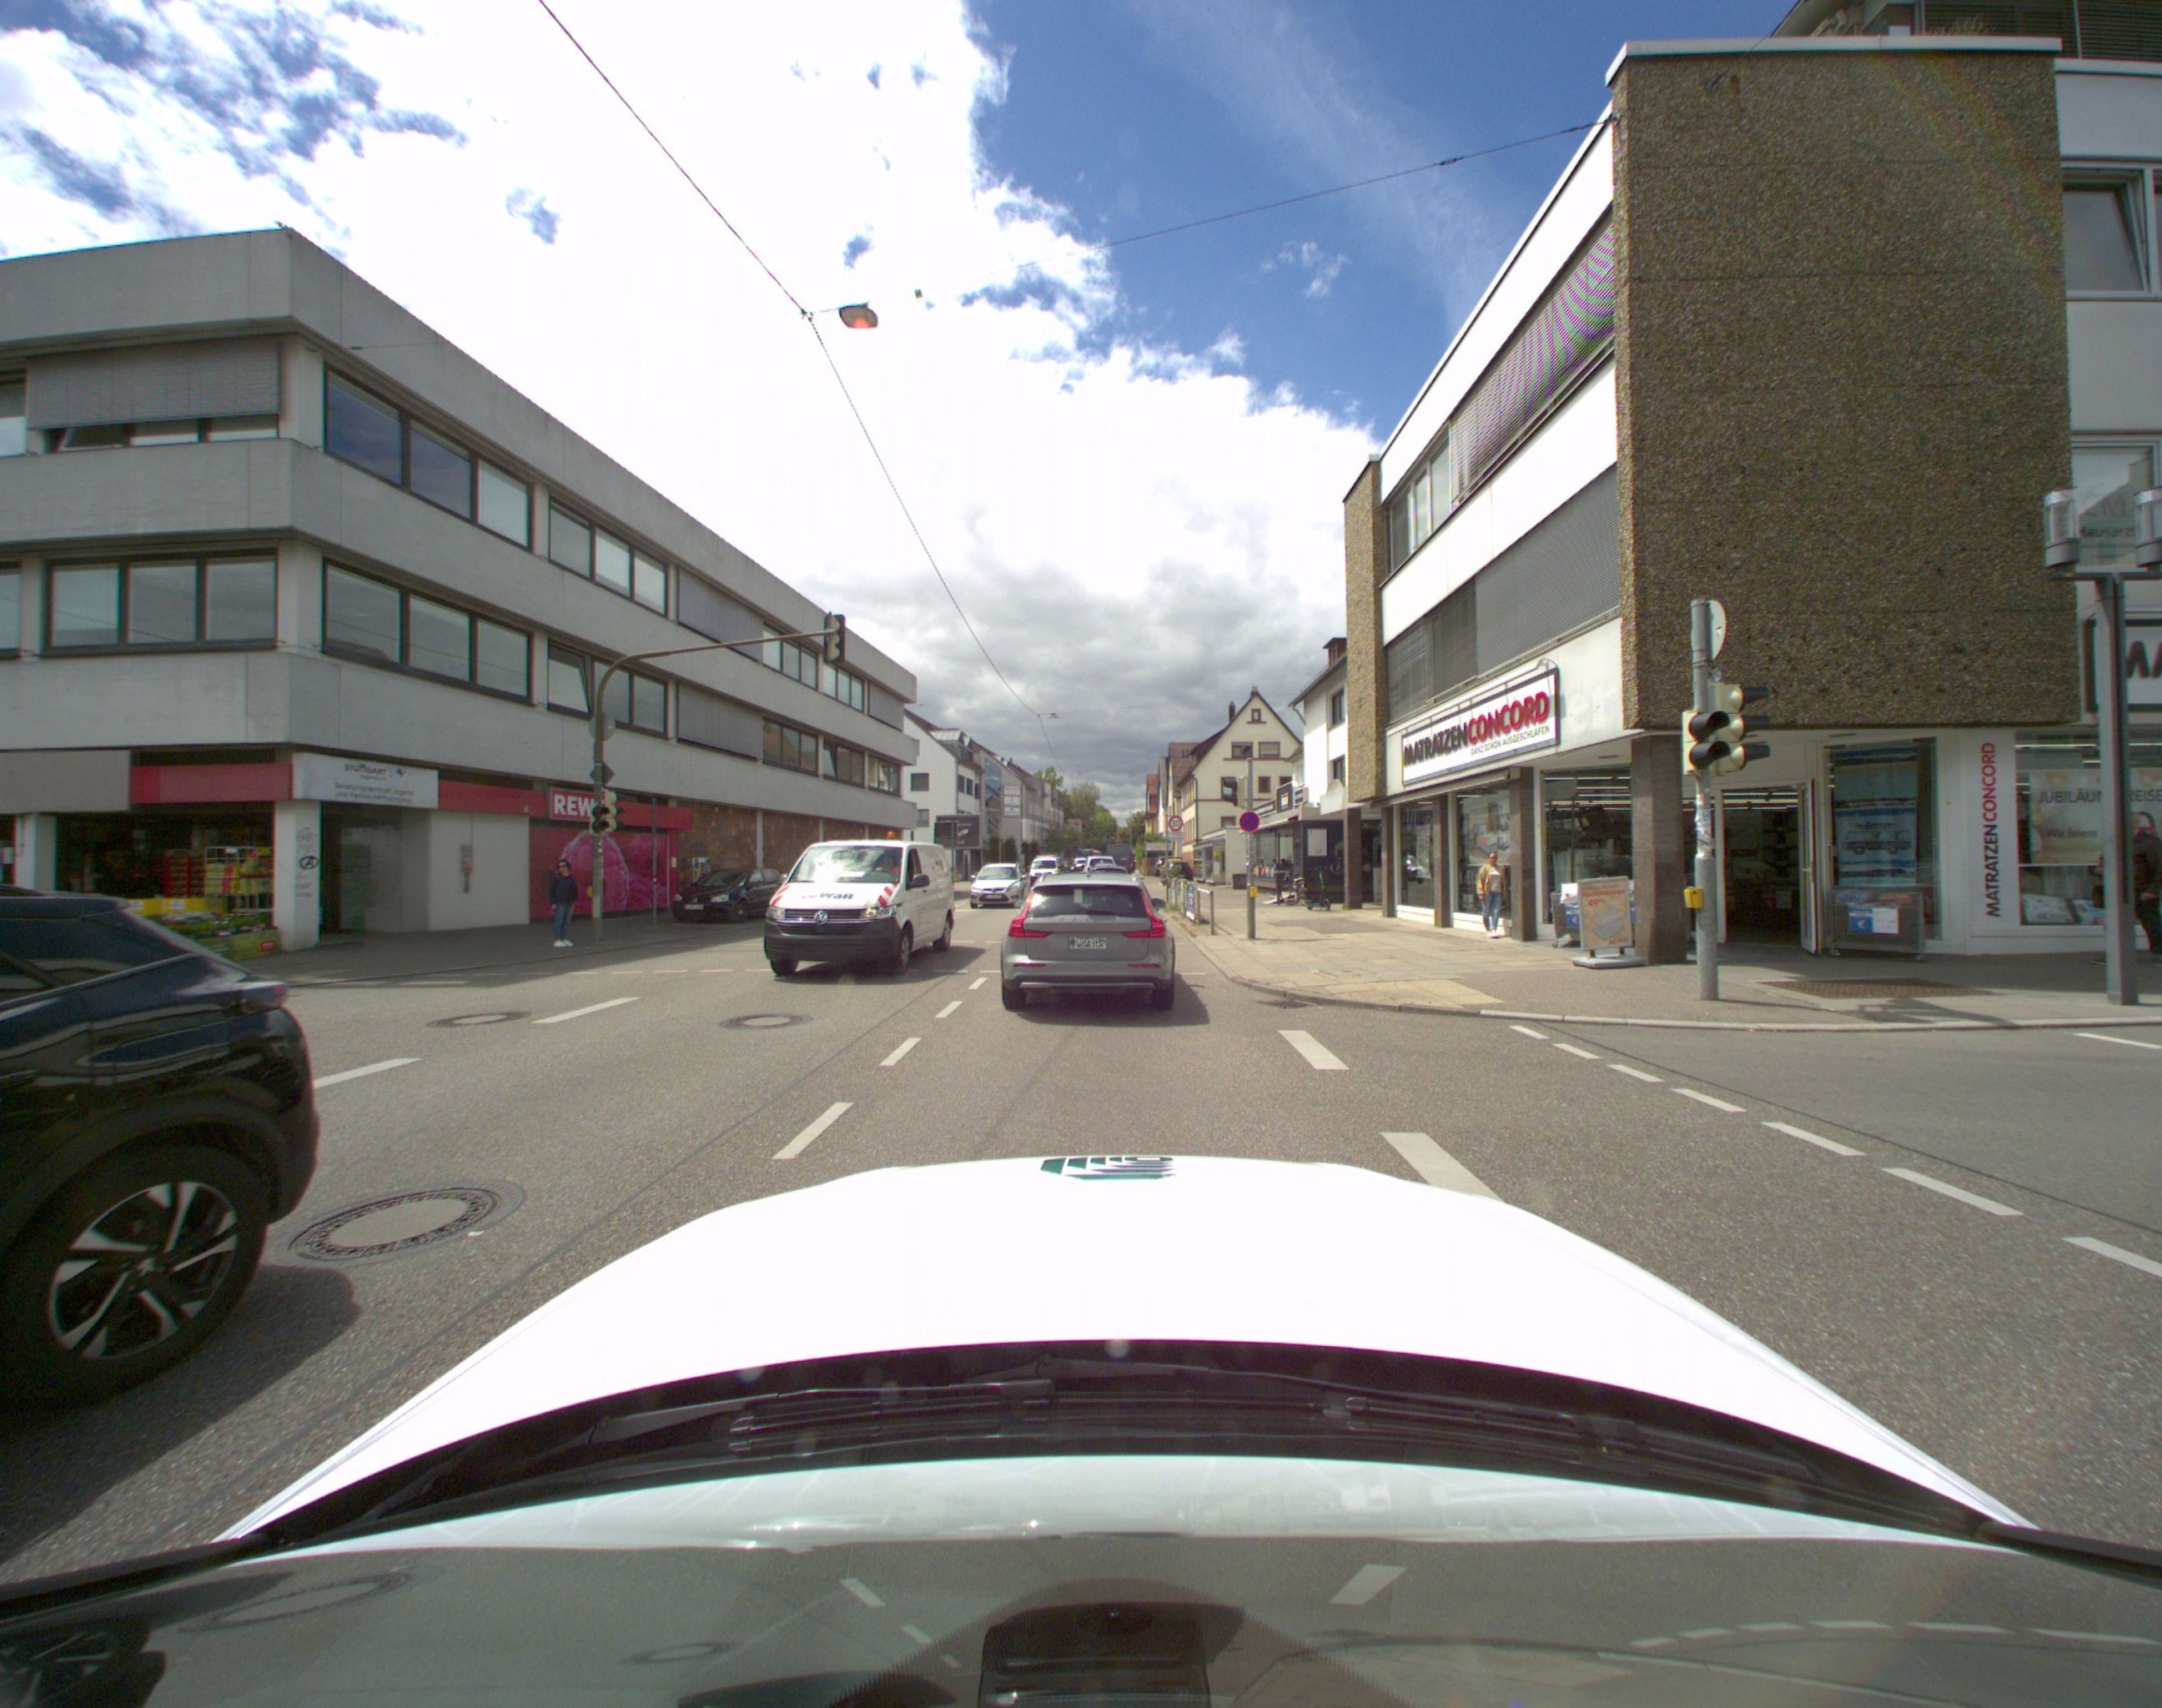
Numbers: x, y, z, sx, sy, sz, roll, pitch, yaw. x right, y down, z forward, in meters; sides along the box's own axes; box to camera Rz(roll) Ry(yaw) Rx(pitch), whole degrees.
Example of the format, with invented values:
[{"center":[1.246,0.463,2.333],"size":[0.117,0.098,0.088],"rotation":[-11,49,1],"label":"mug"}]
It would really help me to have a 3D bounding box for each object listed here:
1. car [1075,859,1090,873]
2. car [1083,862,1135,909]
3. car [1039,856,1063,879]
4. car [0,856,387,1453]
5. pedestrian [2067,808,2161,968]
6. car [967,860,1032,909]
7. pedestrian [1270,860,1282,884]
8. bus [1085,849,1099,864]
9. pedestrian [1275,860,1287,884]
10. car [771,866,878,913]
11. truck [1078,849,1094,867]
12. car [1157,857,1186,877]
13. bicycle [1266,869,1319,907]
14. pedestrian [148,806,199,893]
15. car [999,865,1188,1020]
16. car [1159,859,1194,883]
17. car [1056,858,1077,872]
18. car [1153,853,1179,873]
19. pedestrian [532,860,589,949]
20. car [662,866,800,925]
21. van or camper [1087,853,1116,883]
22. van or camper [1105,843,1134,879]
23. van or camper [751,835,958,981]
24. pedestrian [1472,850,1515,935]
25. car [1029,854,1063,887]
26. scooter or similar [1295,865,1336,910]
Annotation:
[{"center":[0.261,1.579,107.320],"size":[1.790,1.816,4.002],"rotation":[0,-2,2],"label":"car"},{"center":[0.935,1.021,27.668],"size":[1.644,1.482,3.608],"rotation":[0,-1,1],"label":"car"},{"center":[-2.576,1.200,71.349],"size":[1.831,1.917,4.532],"rotation":[-2,-1,1],"label":"car"},{"center":[-3.591,0.765,1.178],"size":[1.676,1.497,3.968],"rotation":[-1,0,2],"label":"car"},{"center":[11.634,0.361,9.120],"size":[0.582,1.705,0.614],"rotation":[-3,0,-31],"label":"pedestrian"},{"center":[-2.795,1.014,28.759],"size":[1.662,1.554,4.217],"rotation":[0,0,2],"label":"car"},{"center":[8.676,0.815,36.302],"size":[0.413,1.052,0.367],"rotation":[-1,-1,0],"label":"pedestrian"},{"center":[2.054,0.412,148.751],"size":[2.267,2.668,7.434],"rotation":[-1,0,2],"label":"bus"},{"center":[8.674,0.781,35.251],"size":[0.413,1.052,0.367],"rotation":[-1,-1,0],"label":"pedestrian"},{"center":[-8.761,1.164,28.244],"size":[1.894,1.443,4.450],"rotation":[1,0,6],"label":"car"},{"center":[0.842,0.676,132.150],"size":[2.267,2.886,7.083],"rotation":[-1,0,2],"label":"truck"},{"center":[6.716,0.994,60.770],"size":[1.875,1.416,3.973],"rotation":[0,-2,2],"label":"car"},{"center":[6.859,1.069,26.501],"size":[0.555,1.144,2.287],"rotation":[-1,0,-16],"label":"bicycle"},{"center":[-18.620,-0.071,16.723],"size":[0.389,1.739,0.773],"rotation":[1,-2,-27],"label":"pedestrian"},{"center":[0.159,0.882,9.910],"size":[1.829,1.486,4.000],"rotation":[0,-1,1],"label":"car"},{"center":[6.008,1.097,51.575],"size":[1.705,1.464,3.998],"rotation":[0,-2,0],"label":"car"},{"center":[-1.513,1.157,88.013],"size":[1.753,1.426,4.007],"rotation":[-1,0,6],"label":"car"},{"center":[6.760,0.744,65.148],"size":[1.875,1.500,3.973],"rotation":[0,-2,2],"label":"car"},{"center":[-9.876,0.942,15.470],"size":[0.616,1.641,0.661],"rotation":[-1,-1,2],"label":"pedestrian"},{"center":[-9.643,1.094,22.839],"size":[1.776,1.464,4.092],"rotation":[1,-1,5],"label":"car"},{"center":[1.319,0.958,52.874],"size":[1.813,1.835,4.000],"rotation":[-1,-2,1],"label":"van or camper"},{"center":[2.996,0.528,63.359],"size":[2.115,2.686,4.784],"rotation":[-1,0,2],"label":"van or camper"},{"center":[-3.313,0.692,12.994],"size":[1.858,1.898,4.694],"rotation":[0,0,1],"label":"van or camper"},{"center":[7.309,0.678,14.452],"size":[0.500,1.459,0.502],"rotation":[-4,-2,14],"label":"pedestrian"},{"center":[-2.148,1.019,50.406],"size":[1.831,1.917,4.156],"rotation":[0,-1,1],"label":"car"},{"center":[6.755,0.965,23.524],"size":[0.342,1.253,1.235],"rotation":[-3,-1,-24],"label":"scooter or similar"}]
